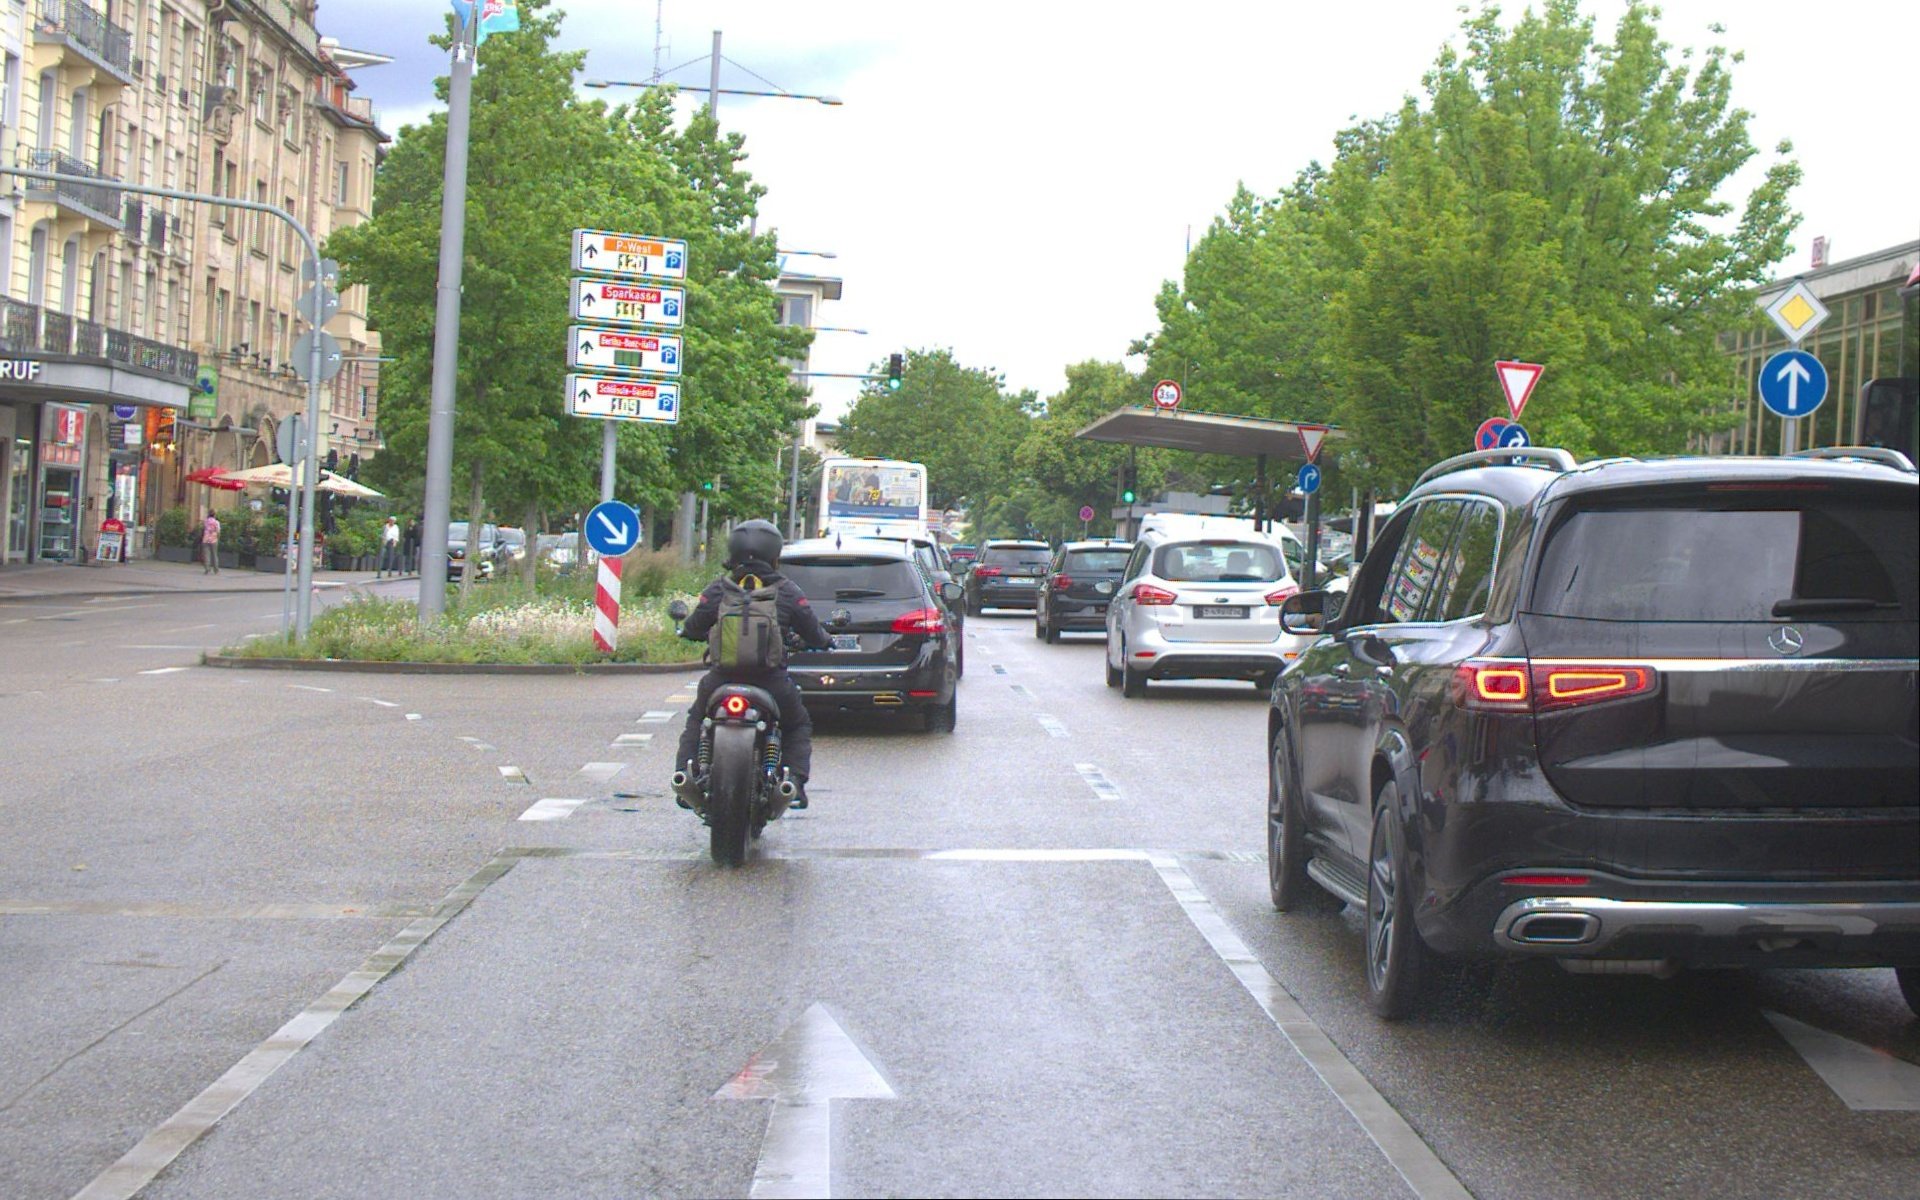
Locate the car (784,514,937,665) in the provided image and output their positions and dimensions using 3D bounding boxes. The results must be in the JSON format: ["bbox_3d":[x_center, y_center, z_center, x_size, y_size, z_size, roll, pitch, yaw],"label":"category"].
[{"bbox_3d":[-1.078,-0.150,37.598,1.575,1.562,3.871,0,1,-1],"label":"car"}]

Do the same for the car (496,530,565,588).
[{"bbox_3d":[-11.926,-1.157,95.651,1.575,1.562,3.430,0,1,-1],"label":"car"}]

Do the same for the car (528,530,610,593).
[{"bbox_3d":[-9.936,-0.993,87.553,1.780,1.562,3.430,0,1,-1],"label":"car"}]

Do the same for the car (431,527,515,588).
[{"bbox_3d":[-12.626,-1.113,89.271,1.780,1.562,3.430,0,1,-1],"label":"car"}]

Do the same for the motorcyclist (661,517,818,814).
[{"bbox_3d":[-1.023,0.294,16.073,0.641,1.343,0.689,1,1,2],"label":"motorcyclist"}]

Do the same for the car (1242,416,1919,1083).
[{"bbox_3d":[2.228,0.371,12.098,1.957,1.869,4.874,0,1,-1],"label":"car"}]

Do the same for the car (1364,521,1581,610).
[{"bbox_3d":[9.270,-0.647,62.360,1.576,1.562,3.794,-1,1,-40],"label":"car"}]

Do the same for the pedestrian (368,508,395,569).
[{"bbox_3d":[-17.170,-1.828,102.078,0.561,1.772,0.498,2,1,34],"label":"pedestrian"}]

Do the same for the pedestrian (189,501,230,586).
[{"bbox_3d":[-18.004,-1.361,82.460,0.724,2.007,0.826,1,1,-28],"label":"pedestrian"}]

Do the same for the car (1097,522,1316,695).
[{"bbox_3d":[2.312,0.041,33.085,1.741,1.562,3.871,0,1,-1],"label":"car"}]

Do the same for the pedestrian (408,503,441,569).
[{"bbox_3d":[-16.065,-1.913,103.152,0.724,1.959,0.826,1,1,-28],"label":"pedestrian"}]

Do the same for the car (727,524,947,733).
[{"bbox_3d":[-0.905,0.168,26.672,1.575,1.499,3.871,0,1,-1],"label":"car"}]

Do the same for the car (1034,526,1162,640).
[{"bbox_3d":[1.926,-0.273,48.976,1.575,1.562,3.871,0,1,-1],"label":"car"}]

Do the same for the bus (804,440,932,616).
[{"bbox_3d":[-2.312,-1.721,85.553,2.837,3.974,11.864,2,0,-2],"label":"bus"}]

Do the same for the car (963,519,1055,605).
[{"bbox_3d":[0.888,-0.728,64.131,1.575,1.562,3.796,0,1,-1],"label":"car"}]

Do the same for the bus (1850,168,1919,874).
[{"bbox_3d":[6.133,-0.287,12.587,3.291,3.278,8.850,1,1,-1],"label":"bus"}]

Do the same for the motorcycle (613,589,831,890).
[{"bbox_3d":[-1.061,0.598,15.738,0.793,1.258,1.855,0,1,2],"label":"motorcycle"}]
